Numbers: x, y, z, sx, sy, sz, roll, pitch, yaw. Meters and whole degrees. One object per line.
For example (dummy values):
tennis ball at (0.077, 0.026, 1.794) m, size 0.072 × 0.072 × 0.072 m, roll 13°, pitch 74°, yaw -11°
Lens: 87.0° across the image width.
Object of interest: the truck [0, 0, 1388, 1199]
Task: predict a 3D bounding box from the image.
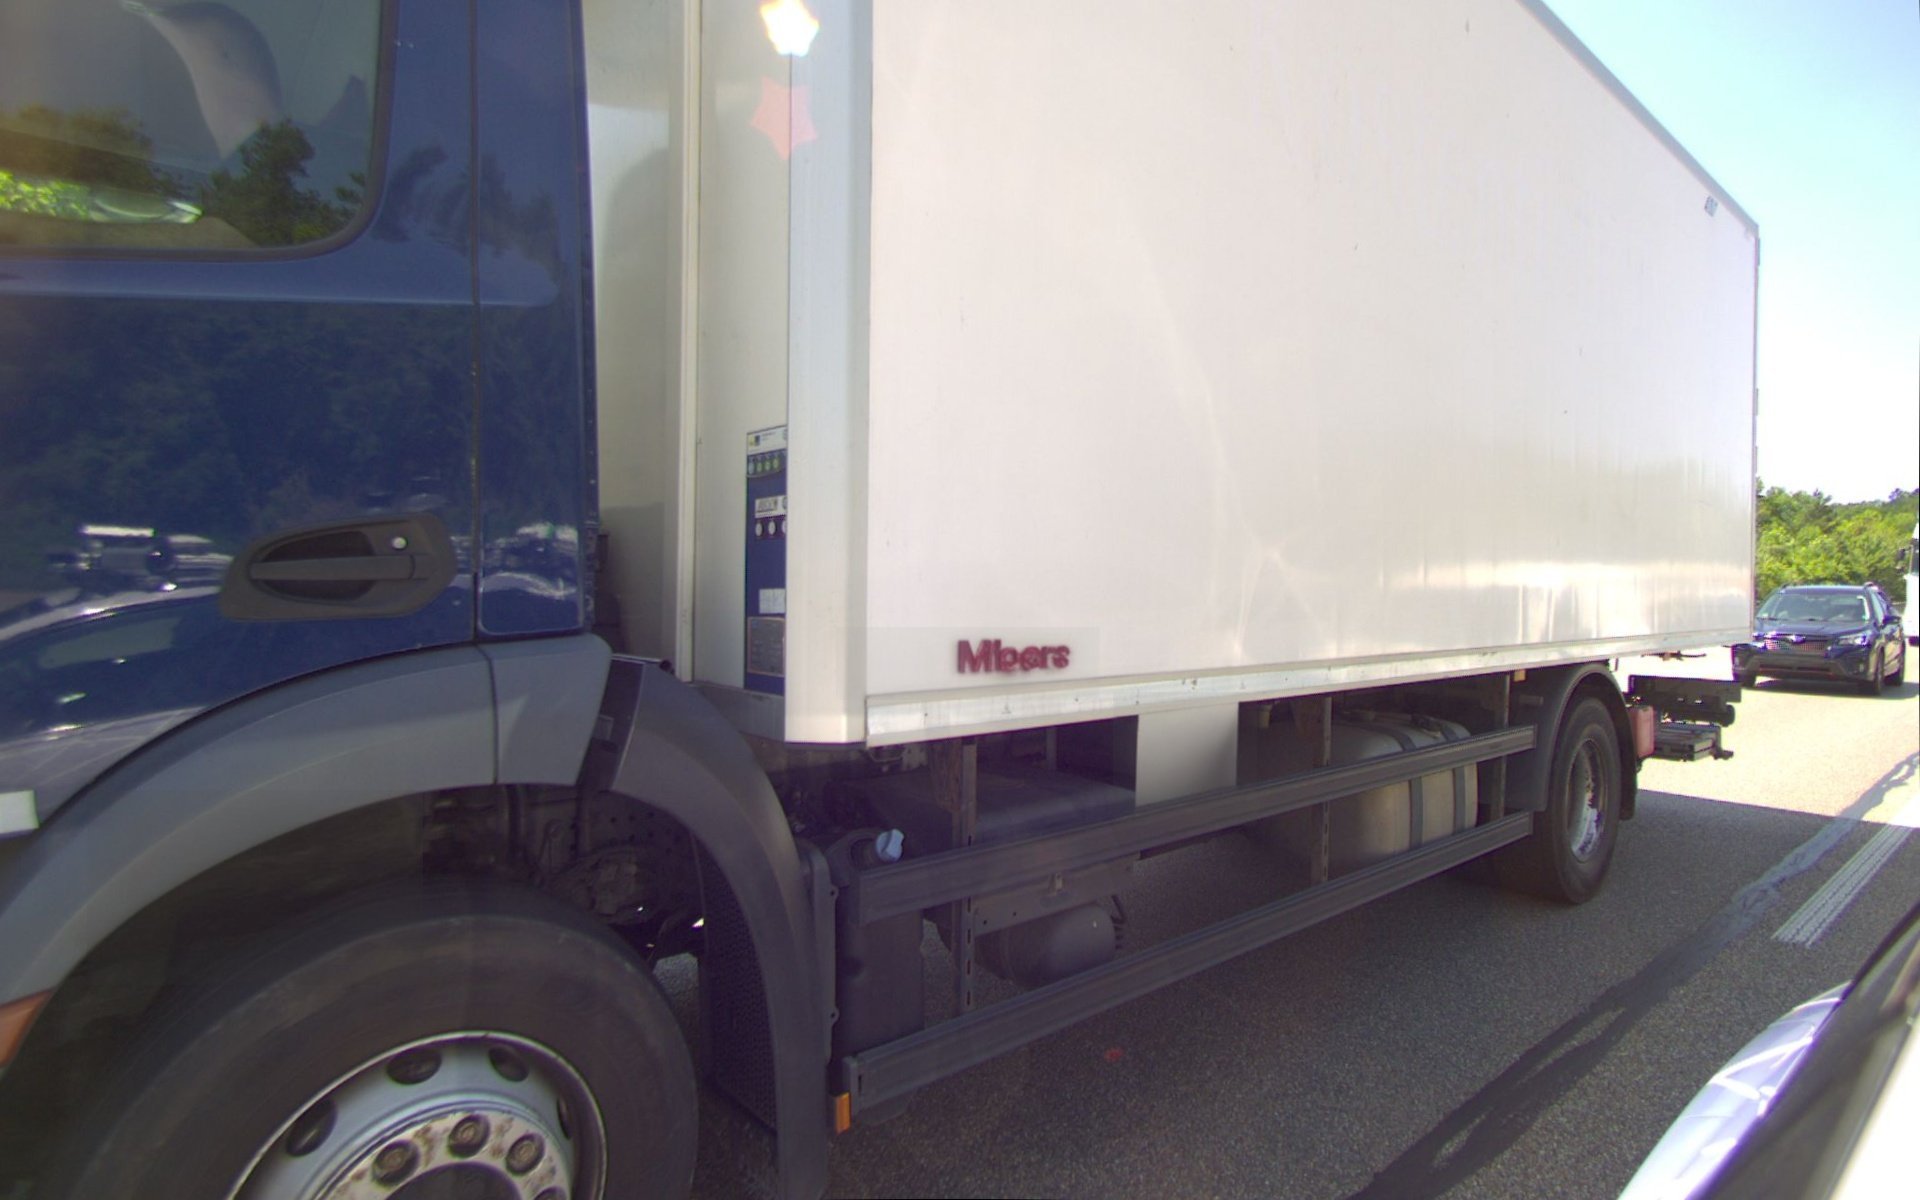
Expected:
truck at (-1.041, -0.172, 2.784) m, size 4.032 × 2.977 × 2.561 m, roll -1°, pitch 2°, yaw -41°

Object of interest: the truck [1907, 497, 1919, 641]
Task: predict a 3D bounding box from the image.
truck at (31.152, -0.950, 30.661) m, size 7.205 × 4.135 × 2.765 m, roll -1°, pitch 1°, yaw -40°

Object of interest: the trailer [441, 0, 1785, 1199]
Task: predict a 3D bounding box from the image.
trailer at (1.843, -0.212, 5.287) m, size 7.744 × 2.936 × 2.560 m, roll 0°, pitch 0°, yaw -41°

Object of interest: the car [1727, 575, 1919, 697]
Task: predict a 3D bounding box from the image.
car at (14.417, 0.459, 16.755) m, size 4.534 × 1.713 × 1.996 m, roll -1°, pitch 2°, yaw -43°
